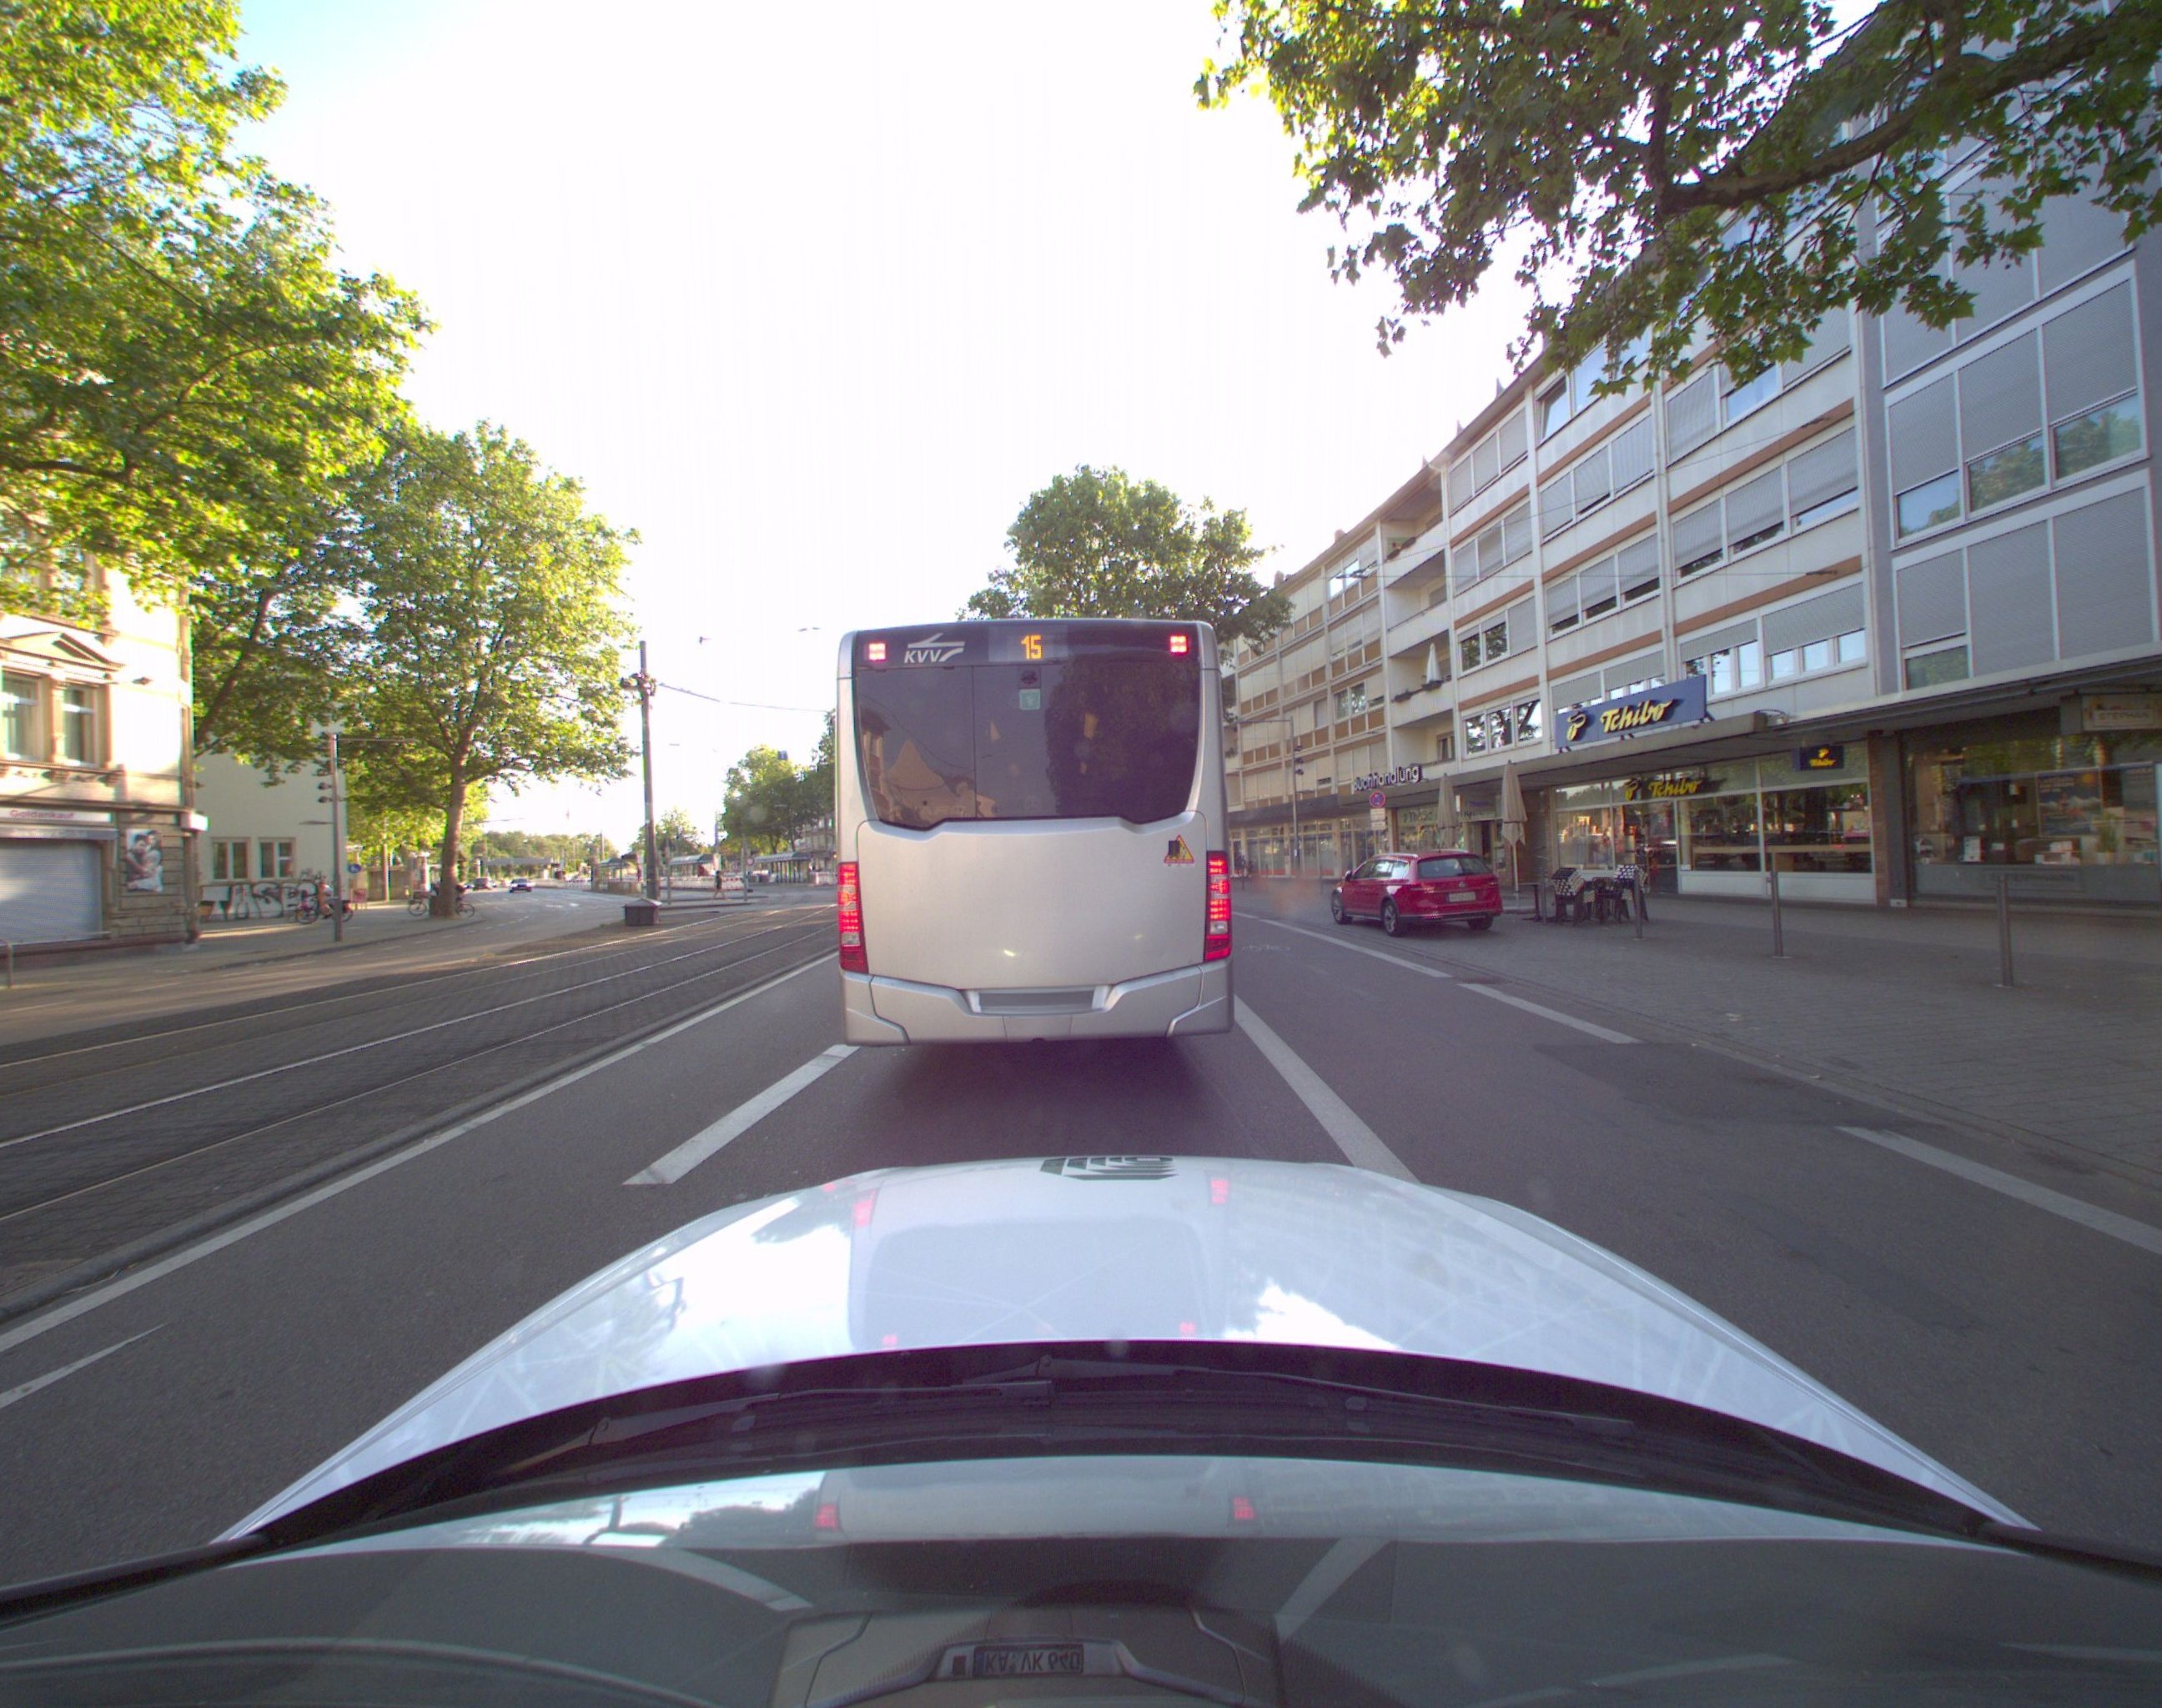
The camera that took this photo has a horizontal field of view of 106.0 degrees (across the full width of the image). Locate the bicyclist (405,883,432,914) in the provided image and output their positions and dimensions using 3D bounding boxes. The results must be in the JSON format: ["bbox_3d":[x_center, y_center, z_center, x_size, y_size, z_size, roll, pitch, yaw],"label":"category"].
[{"bbox_3d":[-33.211,2.225,40.822,0.843,1.444,0.750,-2,-1,-23],"label":"bicyclist"}]

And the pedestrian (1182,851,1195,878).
[{"bbox_3d":[6.545,0.635,49.718,0.536,1.648,0.612,-2,-1,-15],"label":"pedestrian"}]

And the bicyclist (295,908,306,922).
[{"bbox_3d":[-35.298,2.769,36.814,0.310,0.590,0.277,-2,-1,-37],"label":"bicyclist"}]

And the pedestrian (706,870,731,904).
[{"bbox_3d":[-18.207,1.642,40.880,0.994,1.686,0.642,-1,-2,-10],"label":"pedestrian"}]

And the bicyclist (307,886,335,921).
[{"bbox_3d":[-33.343,2.156,35.749,0.846,1.444,0.619,-2,-1,-41],"label":"bicyclist"}]

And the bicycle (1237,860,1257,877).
[{"bbox_3d":[9.275,0.799,45.661,0.413,0.945,1.431,-2,-1,-18],"label":"bicycle"}]

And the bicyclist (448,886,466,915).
[{"bbox_3d":[-29.604,2.200,38.642,0.644,1.293,0.452,-2,-1,-37],"label":"bicyclist"}]

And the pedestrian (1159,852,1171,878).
[{"bbox_3d":[5.348,0.691,52.012,0.536,1.648,0.612,-2,-1,-15],"label":"pedestrian"}]

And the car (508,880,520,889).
[{"bbox_3d":[-111.451,5.928,160.026,1.858,1.684,3.677,-4,1,-35],"label":"car"}]

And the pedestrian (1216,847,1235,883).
[{"bbox_3d":[6.962,0.541,39.242,0.646,1.717,0.557,-2,-1,-14],"label":"pedestrian"}]

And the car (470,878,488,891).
[{"bbox_3d":[-84.767,4.286,114.752,1.807,1.796,3.957,-2,-1,-34],"label":"car"}]

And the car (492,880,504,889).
[{"bbox_3d":[-117.833,6.115,164.687,1.858,1.684,3.676,-2,-1,-35],"label":"car"}]

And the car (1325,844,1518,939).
[{"bbox_3d":[6.367,0.649,15.823,1.765,1.482,4.300,-3,0,-2],"label":"car"}]

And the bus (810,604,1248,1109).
[{"bbox_3d":[-0.174,0.047,9.952,2.621,3.028,10.000,-1,0,2],"label":"bus"}]

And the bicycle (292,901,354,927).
[{"bbox_3d":[-33.280,2.620,35.782,1.924,1.005,0.613,-2,-1,-41],"label":"bicycle"}]

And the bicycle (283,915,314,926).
[{"bbox_3d":[-35.331,3.011,36.775,0.965,0.399,0.286,-2,-1,-37],"label":"bicycle"}]

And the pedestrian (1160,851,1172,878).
[{"bbox_3d":[5.423,0.665,52.025,0.536,1.648,0.612,-2,-1,-15],"label":"pedestrian"}]

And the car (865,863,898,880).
[{"bbox_3d":[-21.772,1.888,88.977,2.010,1.792,3.954,0,-1,-39],"label":"car"}]

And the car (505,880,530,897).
[{"bbox_3d":[-60.622,3.687,87.602,2.008,1.640,3.958,-2,-1,-33],"label":"car"}]

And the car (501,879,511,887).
[{"bbox_3d":[-130.096,6.507,184.205,1.858,1.684,3.676,-2,-1,-35],"label":"car"}]

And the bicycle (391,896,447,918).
[{"bbox_3d":[-33.163,2.649,40.832,2.027,0.937,0.754,-2,-1,-23],"label":"bicycle"}]

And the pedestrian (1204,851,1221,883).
[{"bbox_3d":[6.664,0.637,41.248,0.646,1.581,0.557,-2,-1,-14],"label":"pedestrian"}]

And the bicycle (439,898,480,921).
[{"bbox_3d":[-29.524,2.628,38.688,1.517,0.985,0.445,-2,-1,-37],"label":"bicycle"}]
